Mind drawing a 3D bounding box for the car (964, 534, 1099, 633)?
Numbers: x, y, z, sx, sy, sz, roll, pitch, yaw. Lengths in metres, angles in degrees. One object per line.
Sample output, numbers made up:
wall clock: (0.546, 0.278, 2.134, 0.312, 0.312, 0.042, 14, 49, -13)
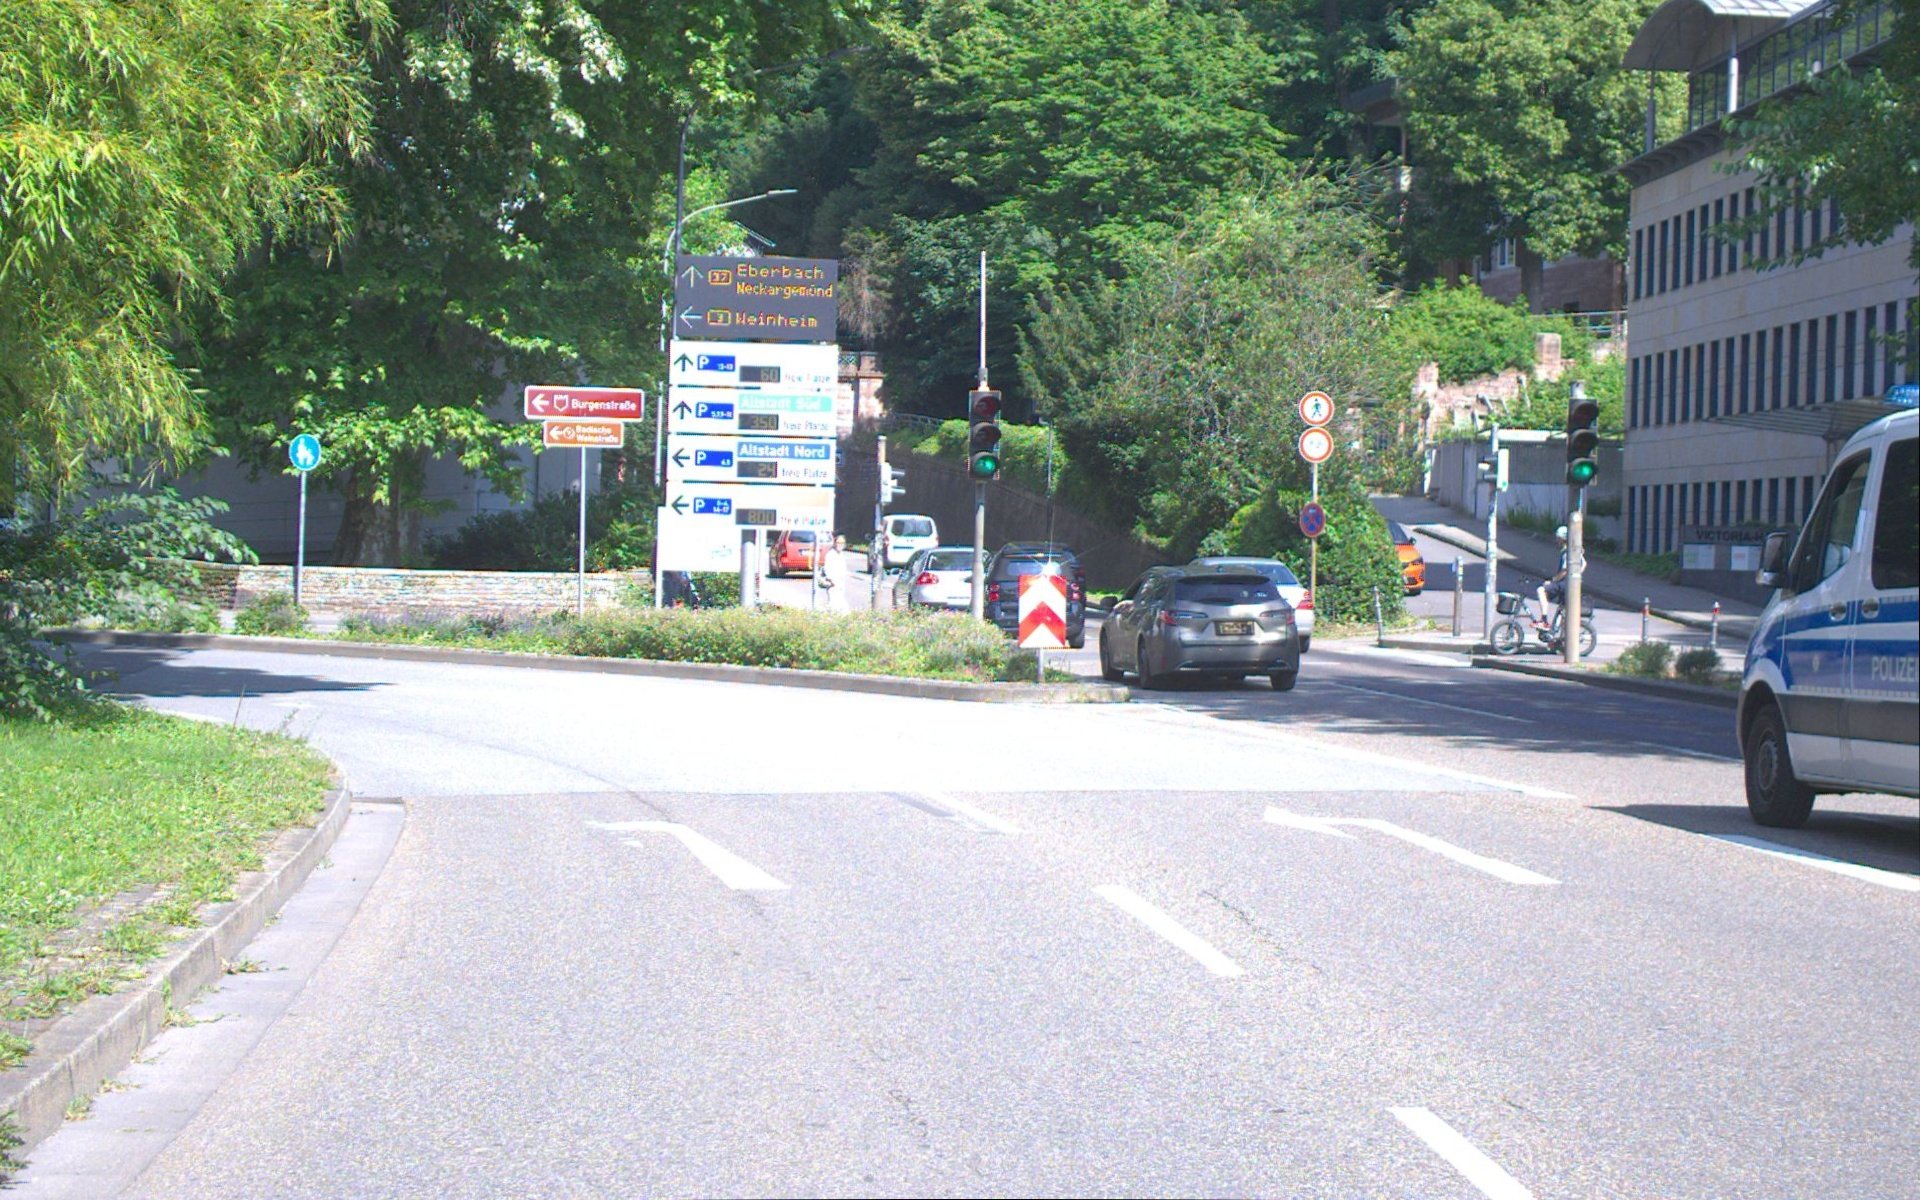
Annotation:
car: (1.096, -0.284, 54.135, 1.756, 1.456, 3.494, 2, 1, -4)

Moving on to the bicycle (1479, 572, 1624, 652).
bicycle: (8.737, 0.166, 50.841, 2.077, 1.109, 0.756, 2, 1, 9)

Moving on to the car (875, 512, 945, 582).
car: (-1.461, -1.543, 98.768, 1.756, 1.931, 3.494, 2, 1, -4)

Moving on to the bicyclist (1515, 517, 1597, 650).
bicyclist: (8.803, -0.244, 50.824, 1.126, 1.926, 0.748, 2, 1, 9)

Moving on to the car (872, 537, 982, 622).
car: (-0.635, -0.400, 63.262, 1.756, 1.456, 3.646, 2, 1, -4)

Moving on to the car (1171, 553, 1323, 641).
car: (4.355, -0.071, 52.533, 1.756, 1.209, 3.494, 2, 1, -4)

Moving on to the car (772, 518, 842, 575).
car: (-4.185, -1.475, 93.656, 1.756, 1.456, 3.494, 2, 1, -4)

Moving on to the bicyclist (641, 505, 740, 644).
bicyclist: (-3.817, -0.363, 48.684, 1.127, 1.926, 0.747, 2, 1, 21)

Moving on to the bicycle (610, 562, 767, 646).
bicycle: (-3.848, 0.051, 48.710, 2.079, 1.109, 0.756, 2, 1, 21)

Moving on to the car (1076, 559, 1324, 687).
car: (2.746, 0.239, 40.188, 1.755, 1.329, 3.803, 2, 1, -14)

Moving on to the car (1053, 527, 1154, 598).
car: (3.103, -0.841, 74.919, 1.756, 1.456, 3.646, 2, 1, -4)

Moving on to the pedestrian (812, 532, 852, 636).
pedestrian: (-2.028, -0.260, 54.504, 0.547, 1.615, 0.634, 1, 1, 5)

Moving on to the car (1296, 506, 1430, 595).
car: (8.000, -0.987, 68.579, 1.931, 1.691, 4.001, 1, 1, -4)

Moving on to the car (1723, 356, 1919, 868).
car: (5.677, 0.075, 17.557, 2.073, 2.500, 4.930, 2, 1, -4)
